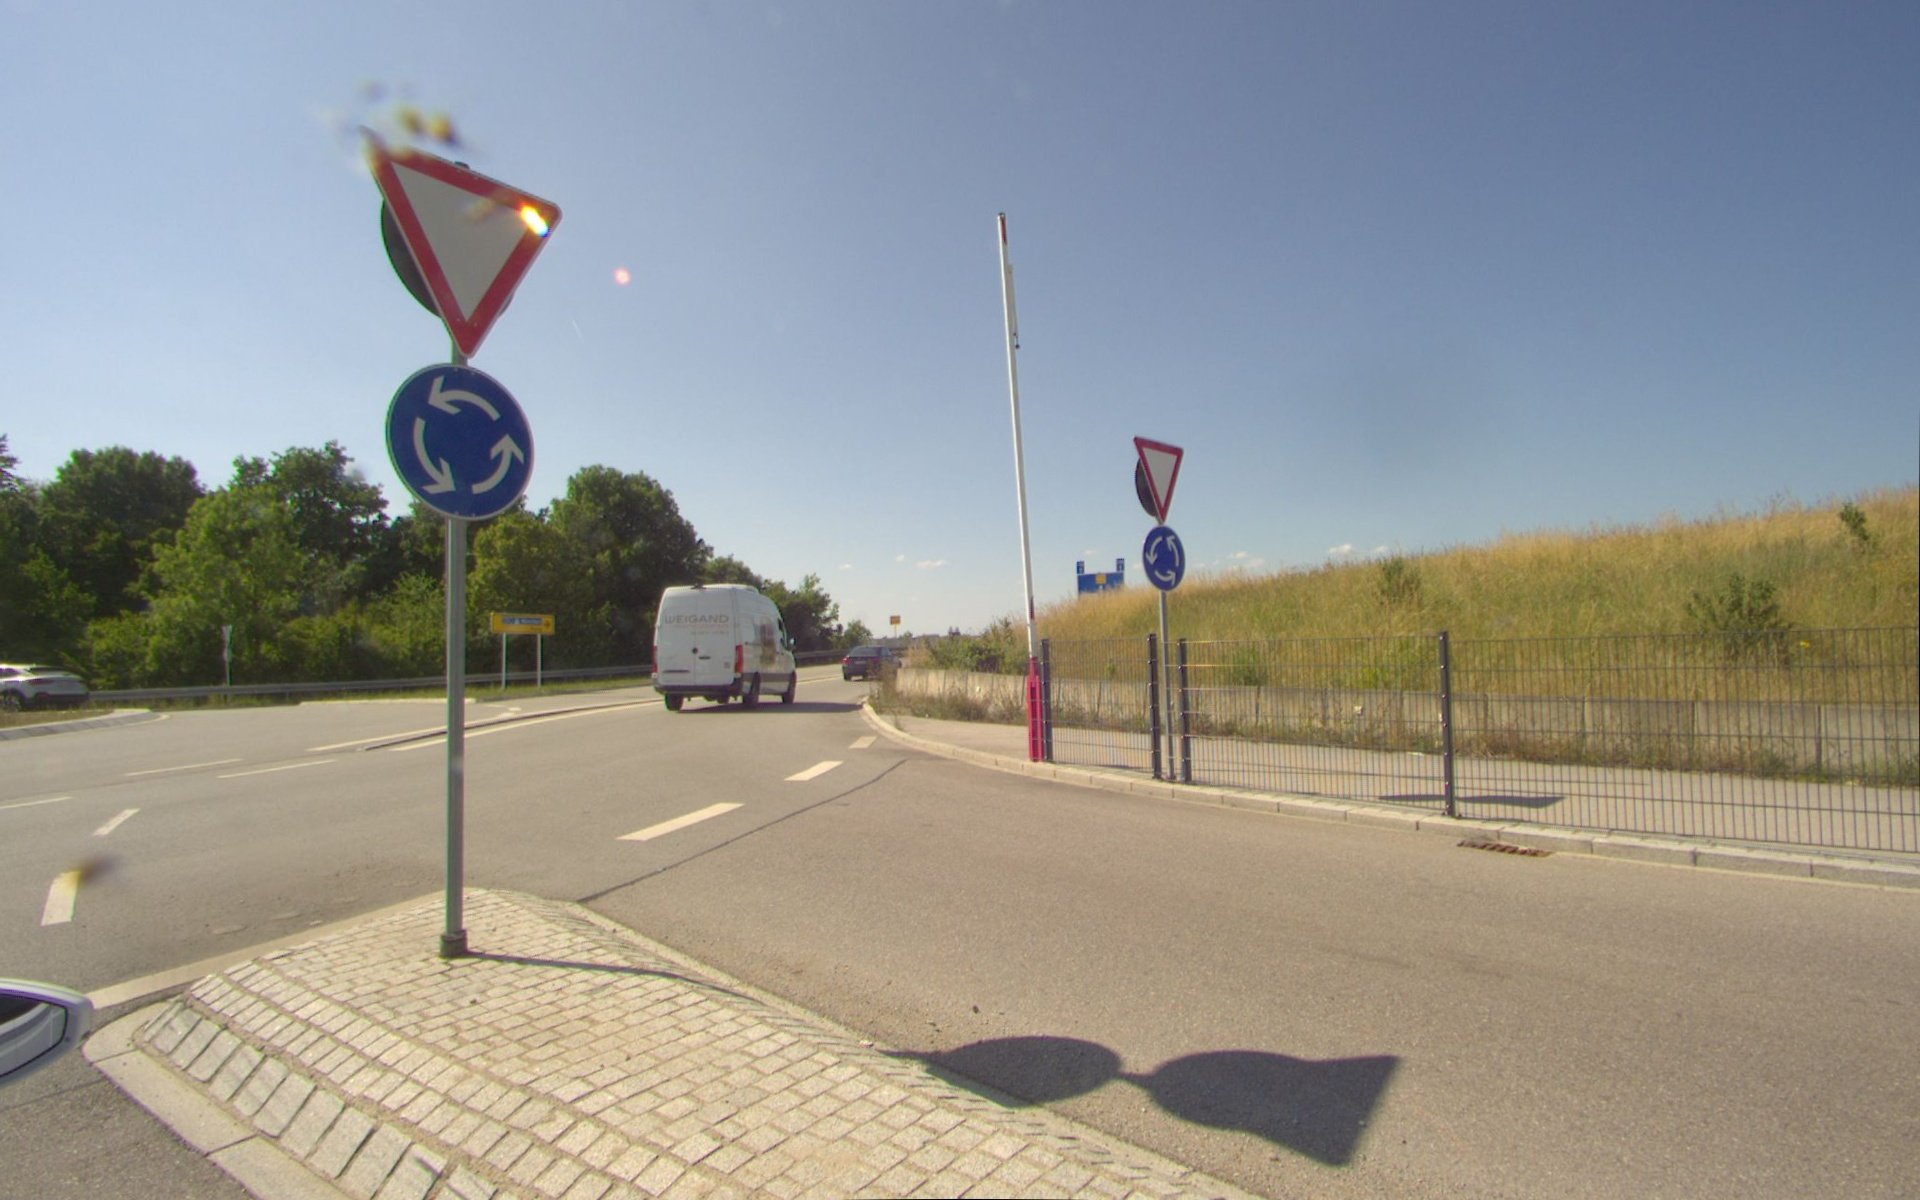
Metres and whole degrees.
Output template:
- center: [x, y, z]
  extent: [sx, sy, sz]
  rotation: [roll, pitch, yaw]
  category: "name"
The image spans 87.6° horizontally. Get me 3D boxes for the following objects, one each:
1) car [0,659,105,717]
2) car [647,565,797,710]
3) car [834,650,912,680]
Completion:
- center: [-28.039, 2.570, 29.486]
  extent: [4.240, 1.616, 1.848]
  rotation: [-1, -2, 4]
  category: "car"
- center: [-5.387, 0.939, 23.647]
  extent: [2.044, 2.957, 6.144]
  rotation: [-1, -3, 0]
  category: "car"
- center: [-3.611, 2.713, 42.244]
  extent: [1.649, 1.197, 3.856]
  rotation: [-2, -3, 23]
  category: "car"
